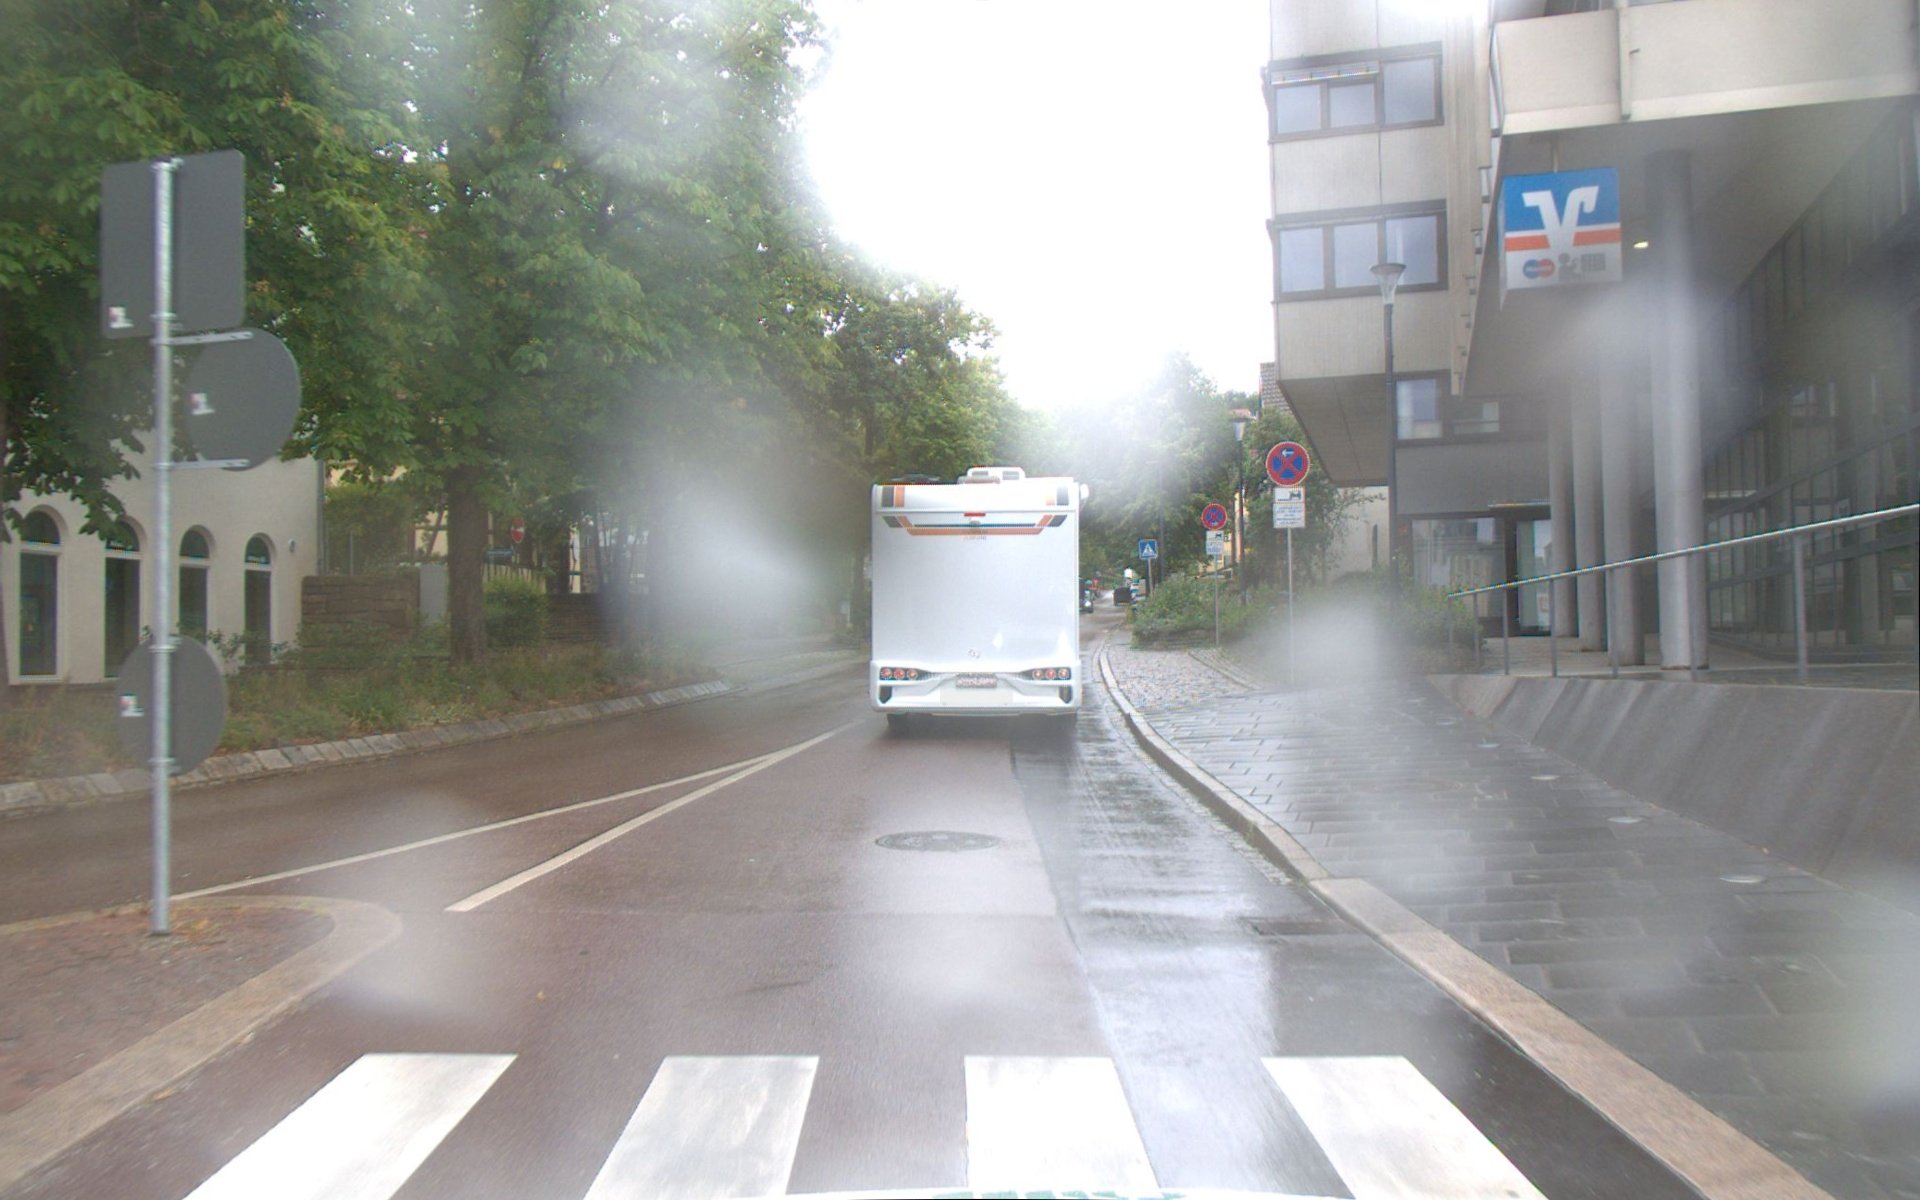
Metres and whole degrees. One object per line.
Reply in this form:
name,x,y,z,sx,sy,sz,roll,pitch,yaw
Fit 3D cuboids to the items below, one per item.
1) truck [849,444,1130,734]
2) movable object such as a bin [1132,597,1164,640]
truck,0.375,-0.058,19.867,2.748,2.846,6.107,-2,-1,1
movable object such as a bin,5.110,0.499,44.978,0.689,1.144,0.571,-3,-1,22
